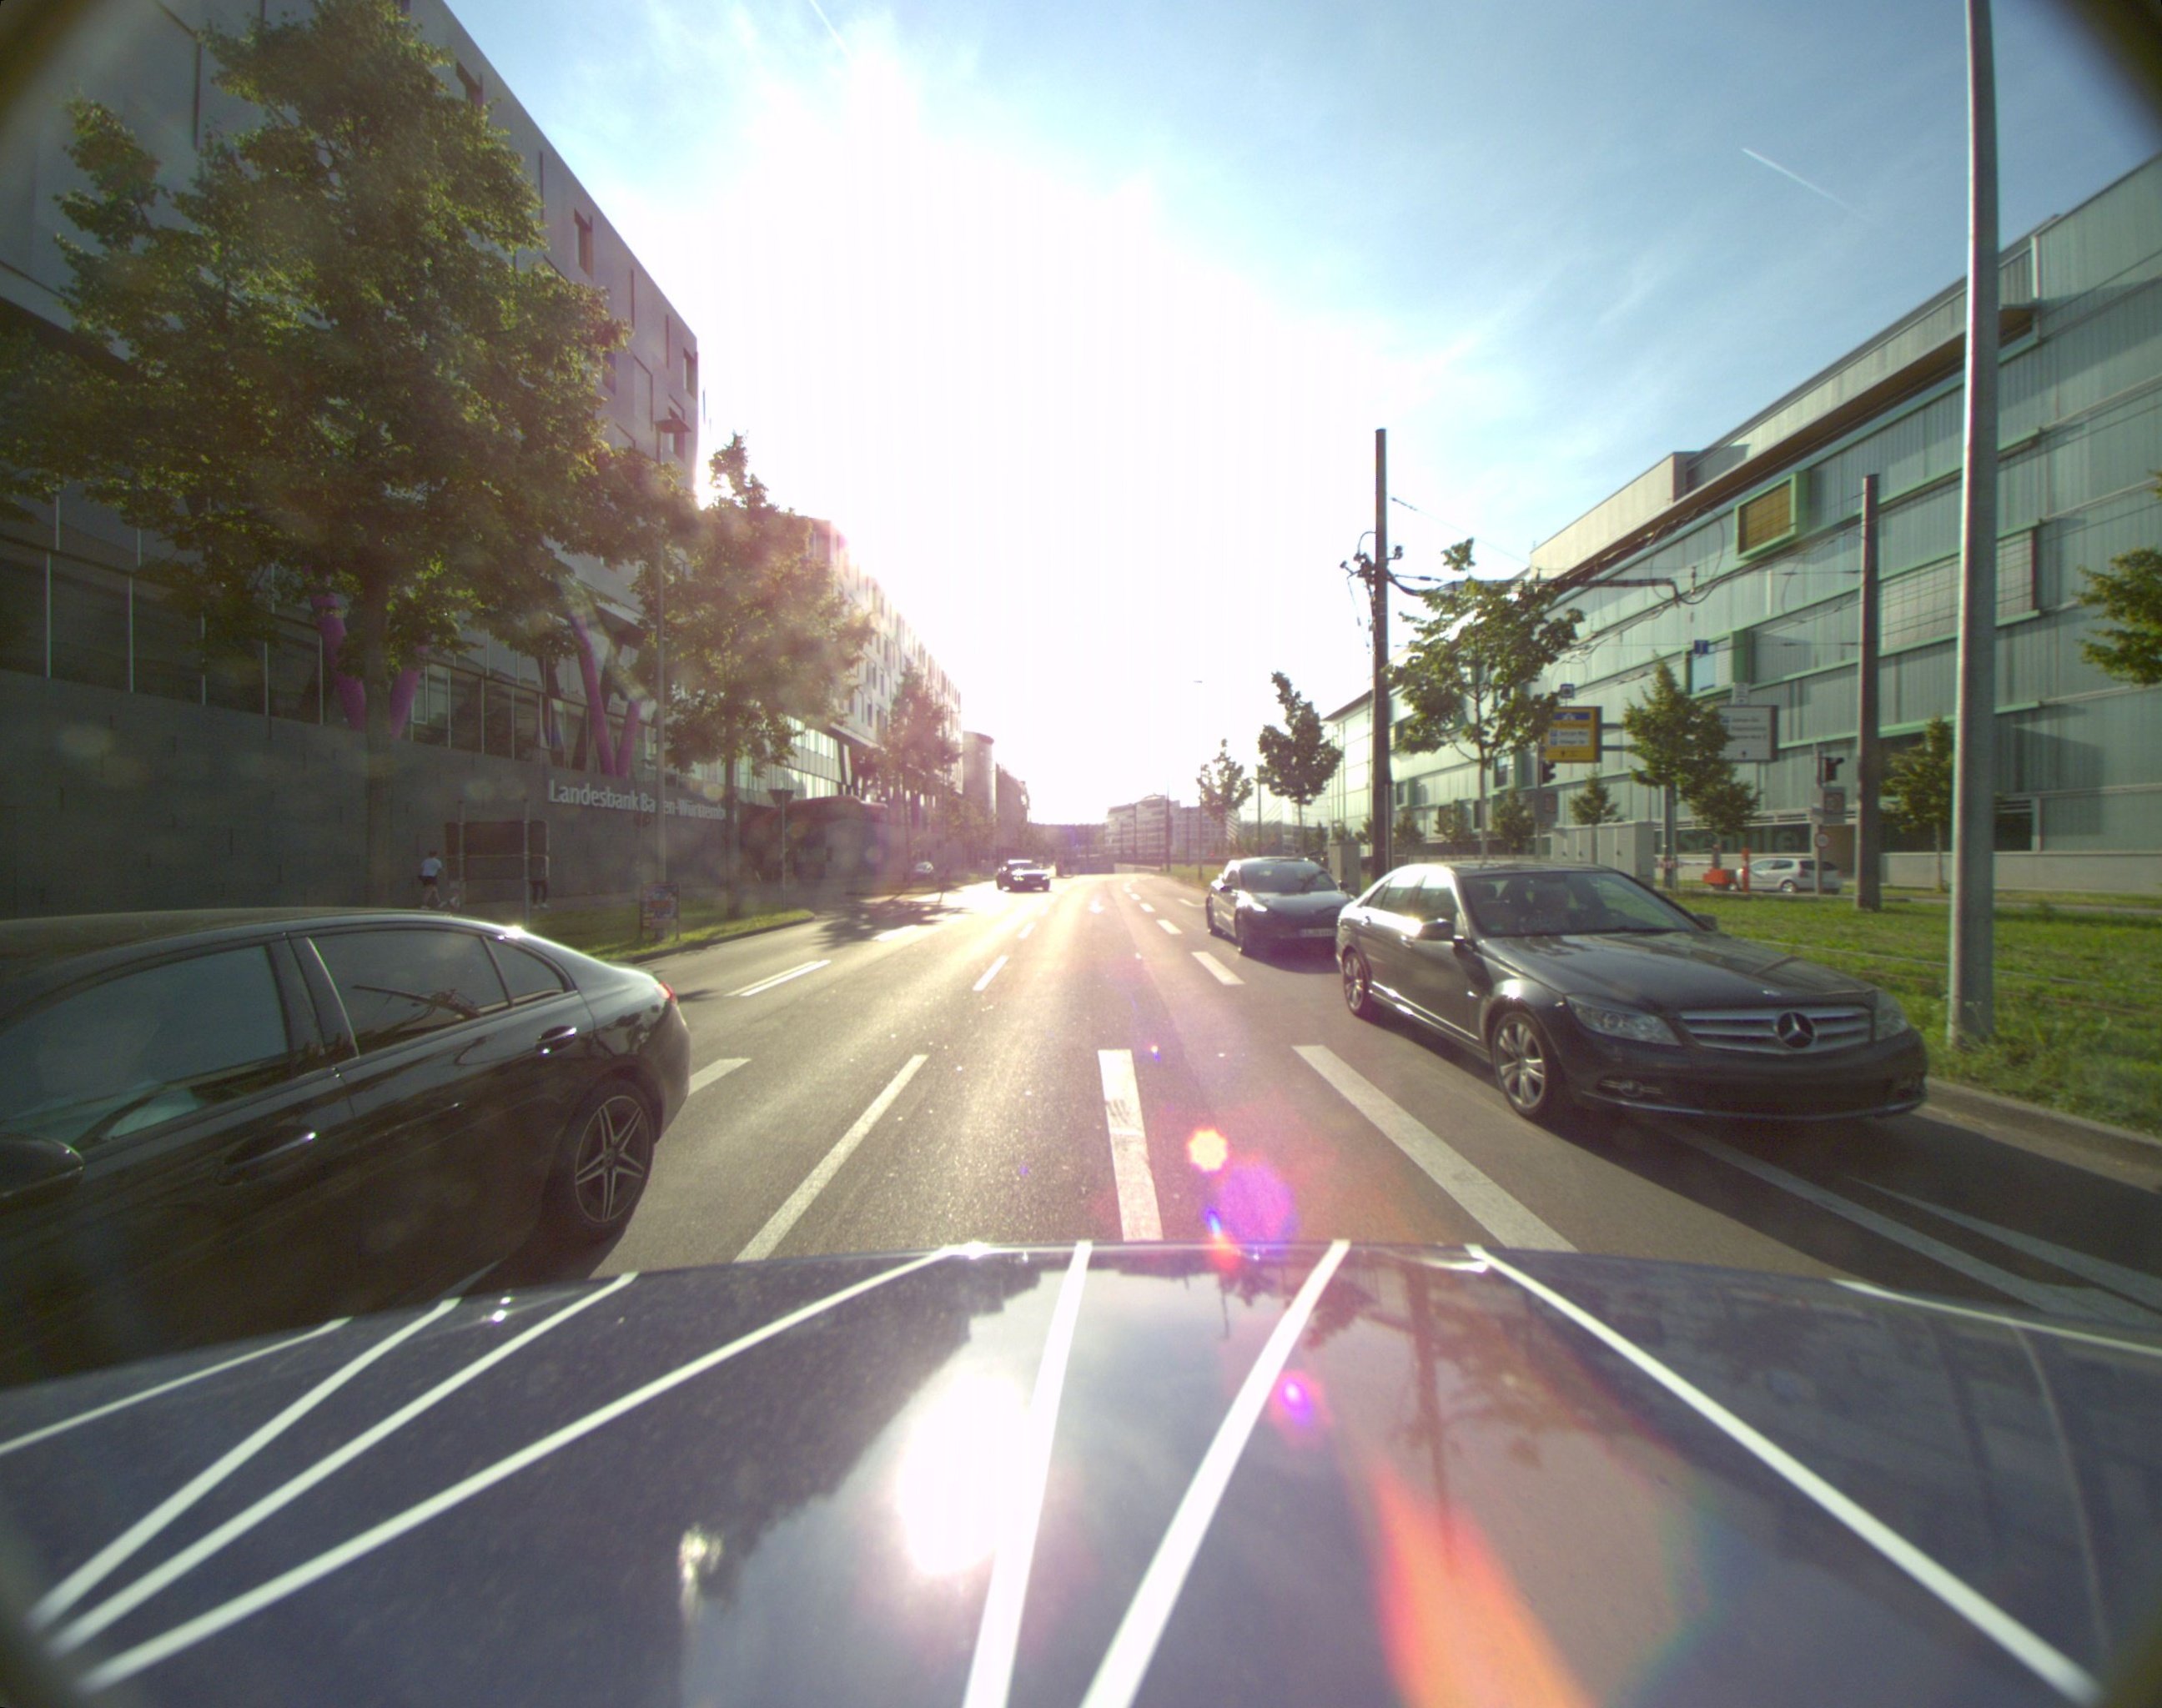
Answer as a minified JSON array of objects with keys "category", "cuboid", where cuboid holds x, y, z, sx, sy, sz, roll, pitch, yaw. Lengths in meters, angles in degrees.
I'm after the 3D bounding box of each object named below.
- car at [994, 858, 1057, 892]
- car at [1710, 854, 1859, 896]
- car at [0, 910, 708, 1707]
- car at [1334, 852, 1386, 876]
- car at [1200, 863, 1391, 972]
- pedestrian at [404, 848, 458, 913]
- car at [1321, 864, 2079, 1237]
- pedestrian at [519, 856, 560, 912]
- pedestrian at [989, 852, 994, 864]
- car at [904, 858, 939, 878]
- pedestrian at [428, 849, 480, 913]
[{"category":"car","cuboid":[-2.788,0.959,36.875,1.897,1.418,4.465,-3,1,-19]},{"category":"car","cuboid":[27.339,0.760,29.747,1.882,1.519,4.223,0,0,-1]},{"category":"car","cuboid":[-2.886,1.012,1.646,1.843,1.441,4.556,-2,0,0]},{"category":"car","cuboid":[20.433,0.722,55.905,1.998,1.674,4.995,0,0,0]},{"category":"car","cuboid":[3.232,0.885,12.434,1.894,1.377,4.335,-2,0,1]},{"category":"pedestrian","cuboid":[-18.662,0.756,21.829,0.770,1.814,0.853,2,0,0]},{"category":"car","cuboid":[3.276,0.850,5.355,1.791,1.470,4.354,-2,0,1]},{"category":"pedestrian","cuboid":[-16.064,0.864,22.553,0.695,1.629,0.736,0,1,0]},{"category":"pedestrian","cuboid":[-13.408,0.649,114.002,0.725,1.776,0.771,0,1,0]},{"category":"car","cuboid":[-11.604,0.993,55.586,1.696,1.382,4.199,0,-1,-1]},{"category":"pedestrian","cuboid":[-17.969,0.755,21.792,0.756,1.783,0.844,2,0,0]}]
